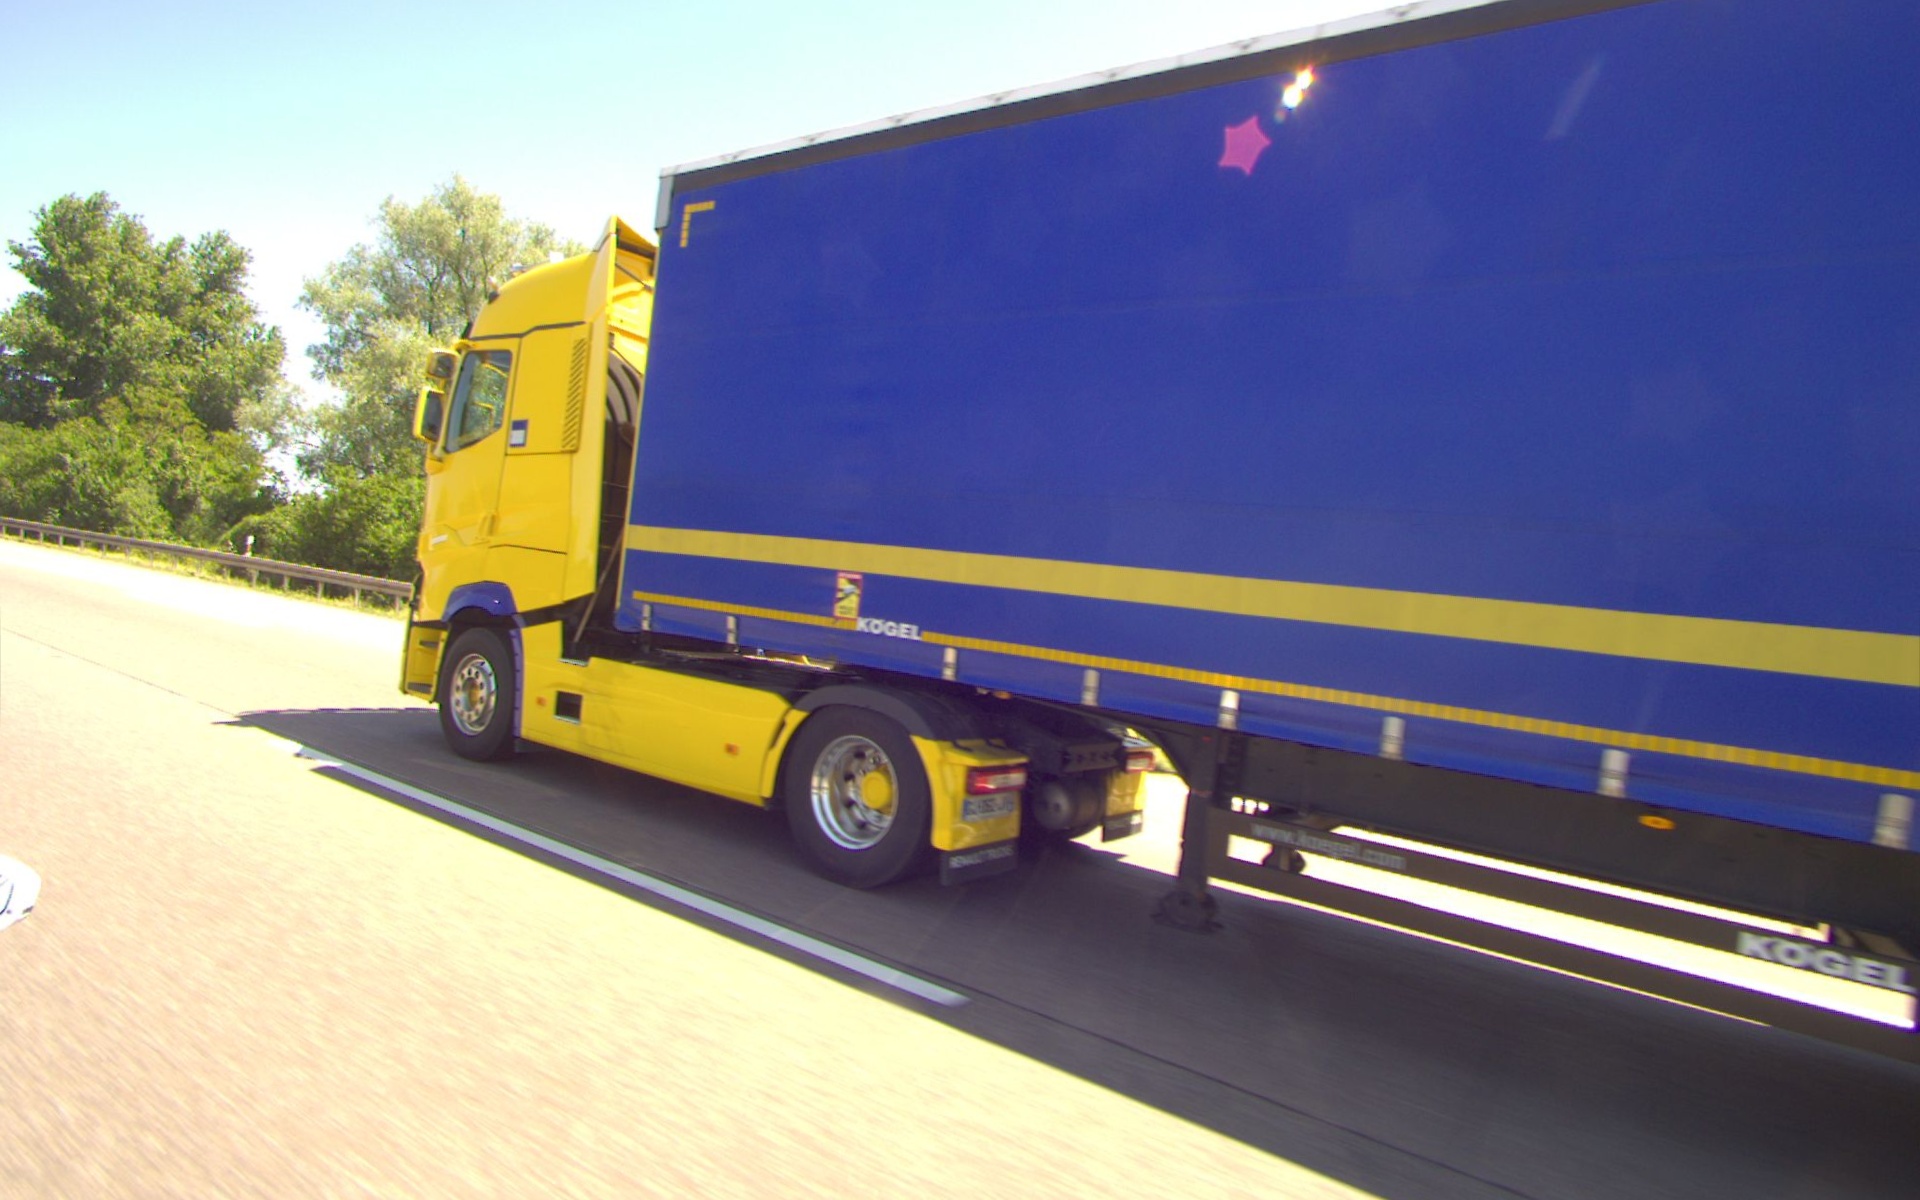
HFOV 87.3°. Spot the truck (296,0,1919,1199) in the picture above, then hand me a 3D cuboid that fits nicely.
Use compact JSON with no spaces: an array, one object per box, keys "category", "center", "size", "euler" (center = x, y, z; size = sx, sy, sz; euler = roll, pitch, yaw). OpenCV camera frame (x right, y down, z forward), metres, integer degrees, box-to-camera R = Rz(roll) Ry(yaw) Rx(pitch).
[{"category":"truck","center":[2.303,-0.326,4.994],"size":[16.521,4.310,2.847],"euler":[6,0,33]}]
